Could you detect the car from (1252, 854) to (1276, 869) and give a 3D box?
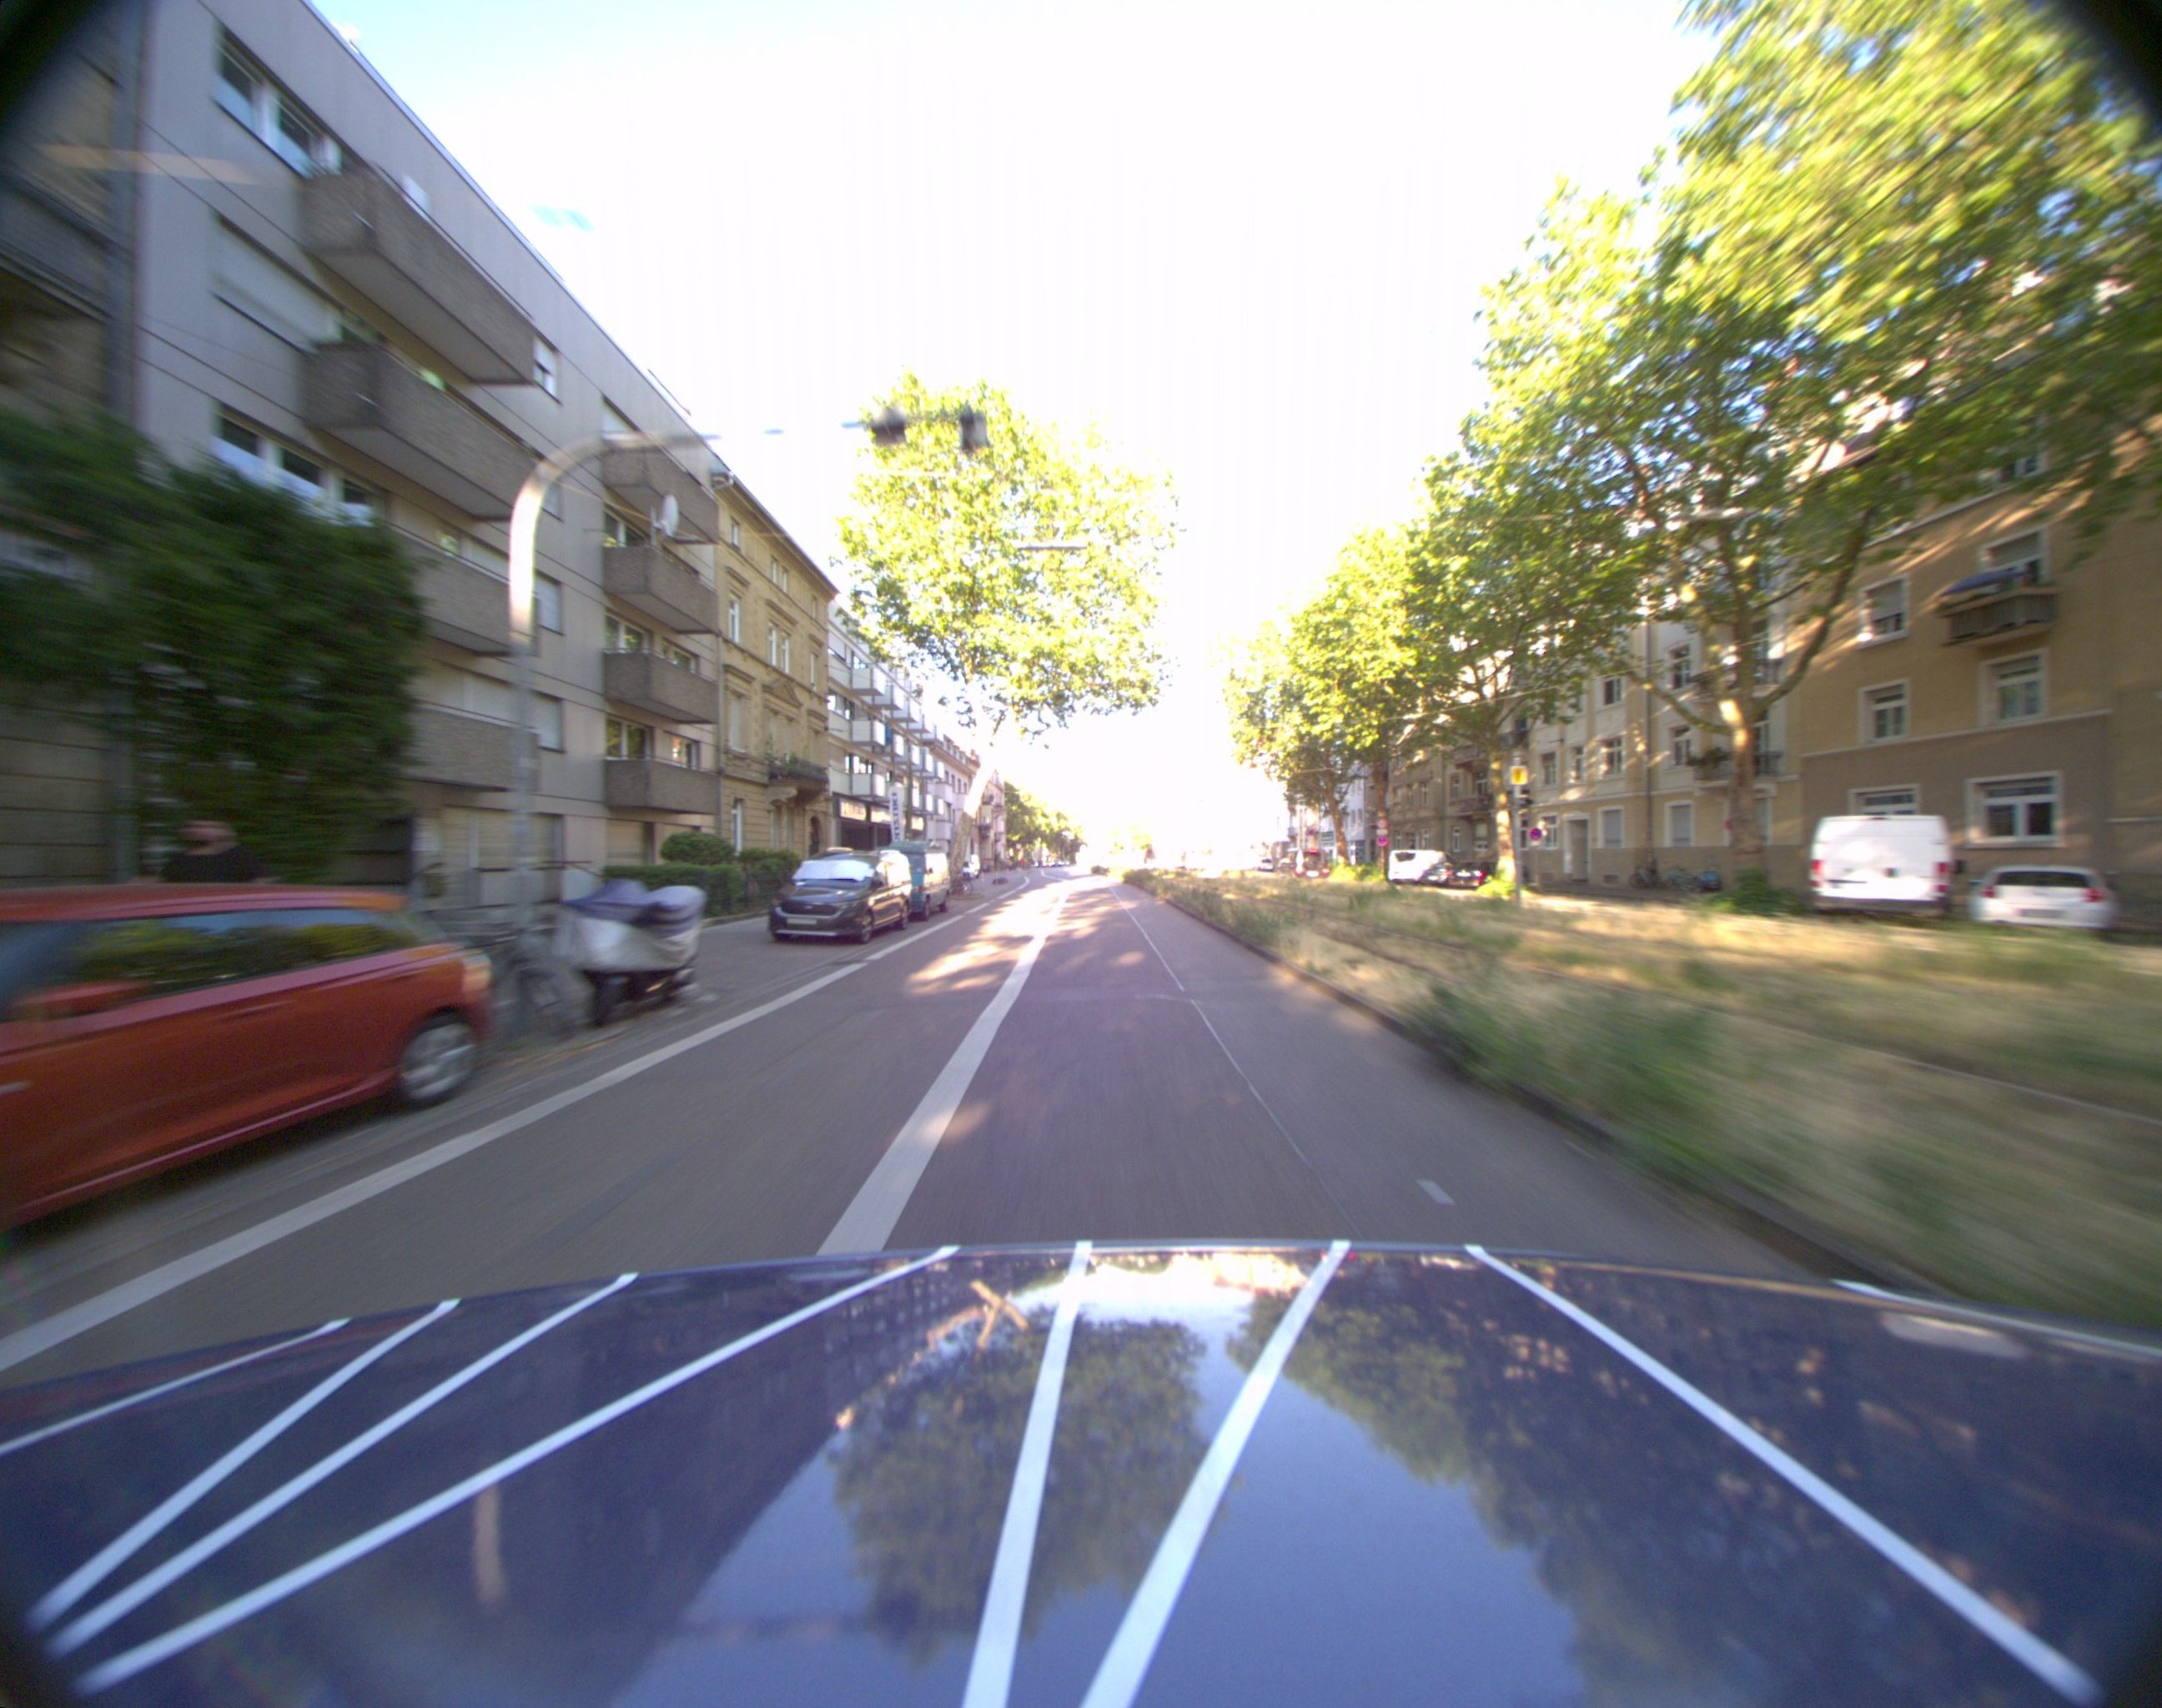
[{"bbox_3d":[21.978,0.860,91.302,1.909,1.776,4.653,0,1,2],"label":"car"}]

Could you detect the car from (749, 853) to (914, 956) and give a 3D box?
[{"bbox_3d":[-5.050,0.907,16.179,1.999,1.819,4.756,0,1,-1],"label":"car"}]

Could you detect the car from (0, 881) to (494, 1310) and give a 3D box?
[{"bbox_3d":[-5.226,0.998,3.475,1.999,1.551,3.979,0,1,-1],"label":"car"}]

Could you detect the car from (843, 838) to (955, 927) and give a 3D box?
[{"bbox_3d":[-5.037,0.697,21.806,1.999,2.244,5.234,0,1,-1],"label":"car"}]

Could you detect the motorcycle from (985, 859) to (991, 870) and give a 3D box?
[{"bbox_3d":[-10.826,1.225,88.567,0.591,1.130,2.504,0,1,-4],"label":"motorcycle"}]

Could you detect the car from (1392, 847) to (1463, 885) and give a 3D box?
[{"bbox_3d":[19.837,0.669,43.404,5.257,2.054,1.717,0,0,-42],"label":"car"}]

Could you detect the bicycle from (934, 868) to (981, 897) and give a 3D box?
[{"bbox_3d":[-4.972,1.137,30.580,1.849,1.136,0.348,0,1,0],"label":"bicycle"}]

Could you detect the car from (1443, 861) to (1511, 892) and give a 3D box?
[{"bbox_3d":[19.301,1.044,36.967,3.736,1.413,1.717,0,0,-42],"label":"car"}]

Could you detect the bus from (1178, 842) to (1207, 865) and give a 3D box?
[{"bbox_3d":[17.140,-0.091,117.089,3.273,3.354,9.898,0,1,1],"label":"bus"}]

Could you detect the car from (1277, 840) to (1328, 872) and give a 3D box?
[{"bbox_3d":[12.591,0.075,43.404,1.873,1.684,4.777,0,1,5],"label":"car"}]

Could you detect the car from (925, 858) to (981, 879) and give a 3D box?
[{"bbox_3d":[-9.477,1.095,56.529,3.820,1.492,1.914,0,-1,1],"label":"car"}]

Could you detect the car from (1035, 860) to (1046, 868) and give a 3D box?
[{"bbox_3d":[-8.379,2.099,156.748,1.877,1.586,4.001,0,0,4],"label":"car"}]

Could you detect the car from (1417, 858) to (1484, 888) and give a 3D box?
[{"bbox_3d":[19.602,0.964,40.219,4.185,1.482,1.717,0,0,-42],"label":"car"}]

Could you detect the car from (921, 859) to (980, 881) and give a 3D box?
[{"bbox_3d":[-9.247,1.111,54.091,3.879,1.505,1.809,0,0,-2],"label":"car"}]

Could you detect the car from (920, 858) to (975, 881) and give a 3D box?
[{"bbox_3d":[-9.028,1.043,51.520,3.426,1.516,1.741,0,0,2],"label":"car"}]

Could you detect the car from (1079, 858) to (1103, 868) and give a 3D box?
[{"bbox_3d":[1.796,1.521,133.542,3.993,1.696,1.837,0,1,12],"label":"car"}]

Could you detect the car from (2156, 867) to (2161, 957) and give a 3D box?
[{"bbox_3d":[19.549,0.973,12.601,3.716,1.457,1.732,1,-1,-31],"label":"car"}]

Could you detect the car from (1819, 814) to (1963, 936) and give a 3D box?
[{"bbox_3d":[19.493,0.431,18.261,5.520,2.514,2.120,0,0,-42],"label":"car"}]

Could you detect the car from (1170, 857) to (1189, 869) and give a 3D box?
[{"bbox_3d":[12.603,1.108,97.185,1.720,1.477,4.699,2,0,0],"label":"car"}]

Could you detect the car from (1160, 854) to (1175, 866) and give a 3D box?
[{"bbox_3d":[13.086,0.874,115.263,1.934,1.674,4.000,0,1,3],"label":"car"}]

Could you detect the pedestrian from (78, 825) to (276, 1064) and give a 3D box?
[{"bbox_3d":[-7.727,0.734,6.541,0.712,1.926,0.815,0,0,1],"label":"pedestrian"}]

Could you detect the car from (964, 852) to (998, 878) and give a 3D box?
[{"bbox_3d":[-8.007,0.839,61.233,1.897,1.937,4.901,0,1,3],"label":"car"}]

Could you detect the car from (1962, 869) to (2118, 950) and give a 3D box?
[{"bbox_3d":[19.303,1.028,15.446,3.717,1.391,1.731,0,0,-42],"label":"car"}]

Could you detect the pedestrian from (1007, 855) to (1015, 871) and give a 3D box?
[{"bbox_3d":[-7.905,0.992,85.892,0.831,1.802,1.150,0,1,-1],"label":"pedestrian"}]

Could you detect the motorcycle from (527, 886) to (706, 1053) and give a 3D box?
[{"bbox_3d":[-4.743,1.090,7.995,0.827,1.390,2.377,2,0,-12],"label":"motorcycle"}]

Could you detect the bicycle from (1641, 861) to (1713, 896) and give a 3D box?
[{"bbox_3d":[25.132,0.995,32.134,0.743,1.383,2.961,0,0,1],"label":"bicycle"}]

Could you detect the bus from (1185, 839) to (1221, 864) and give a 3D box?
[{"bbox_3d":[16.903,-0.388,106.106,3.262,3.354,11.976,0,1,1],"label":"bus"}]

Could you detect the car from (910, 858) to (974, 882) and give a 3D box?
[{"bbox_3d":[-9.021,1.037,49.534,3.829,1.531,1.859,0,0,-1],"label":"car"}]

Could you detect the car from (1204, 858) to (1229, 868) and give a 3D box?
[{"bbox_3d":[23.226,1.561,130.568,4.124,1.565,1.717,0,1,6],"label":"car"}]
